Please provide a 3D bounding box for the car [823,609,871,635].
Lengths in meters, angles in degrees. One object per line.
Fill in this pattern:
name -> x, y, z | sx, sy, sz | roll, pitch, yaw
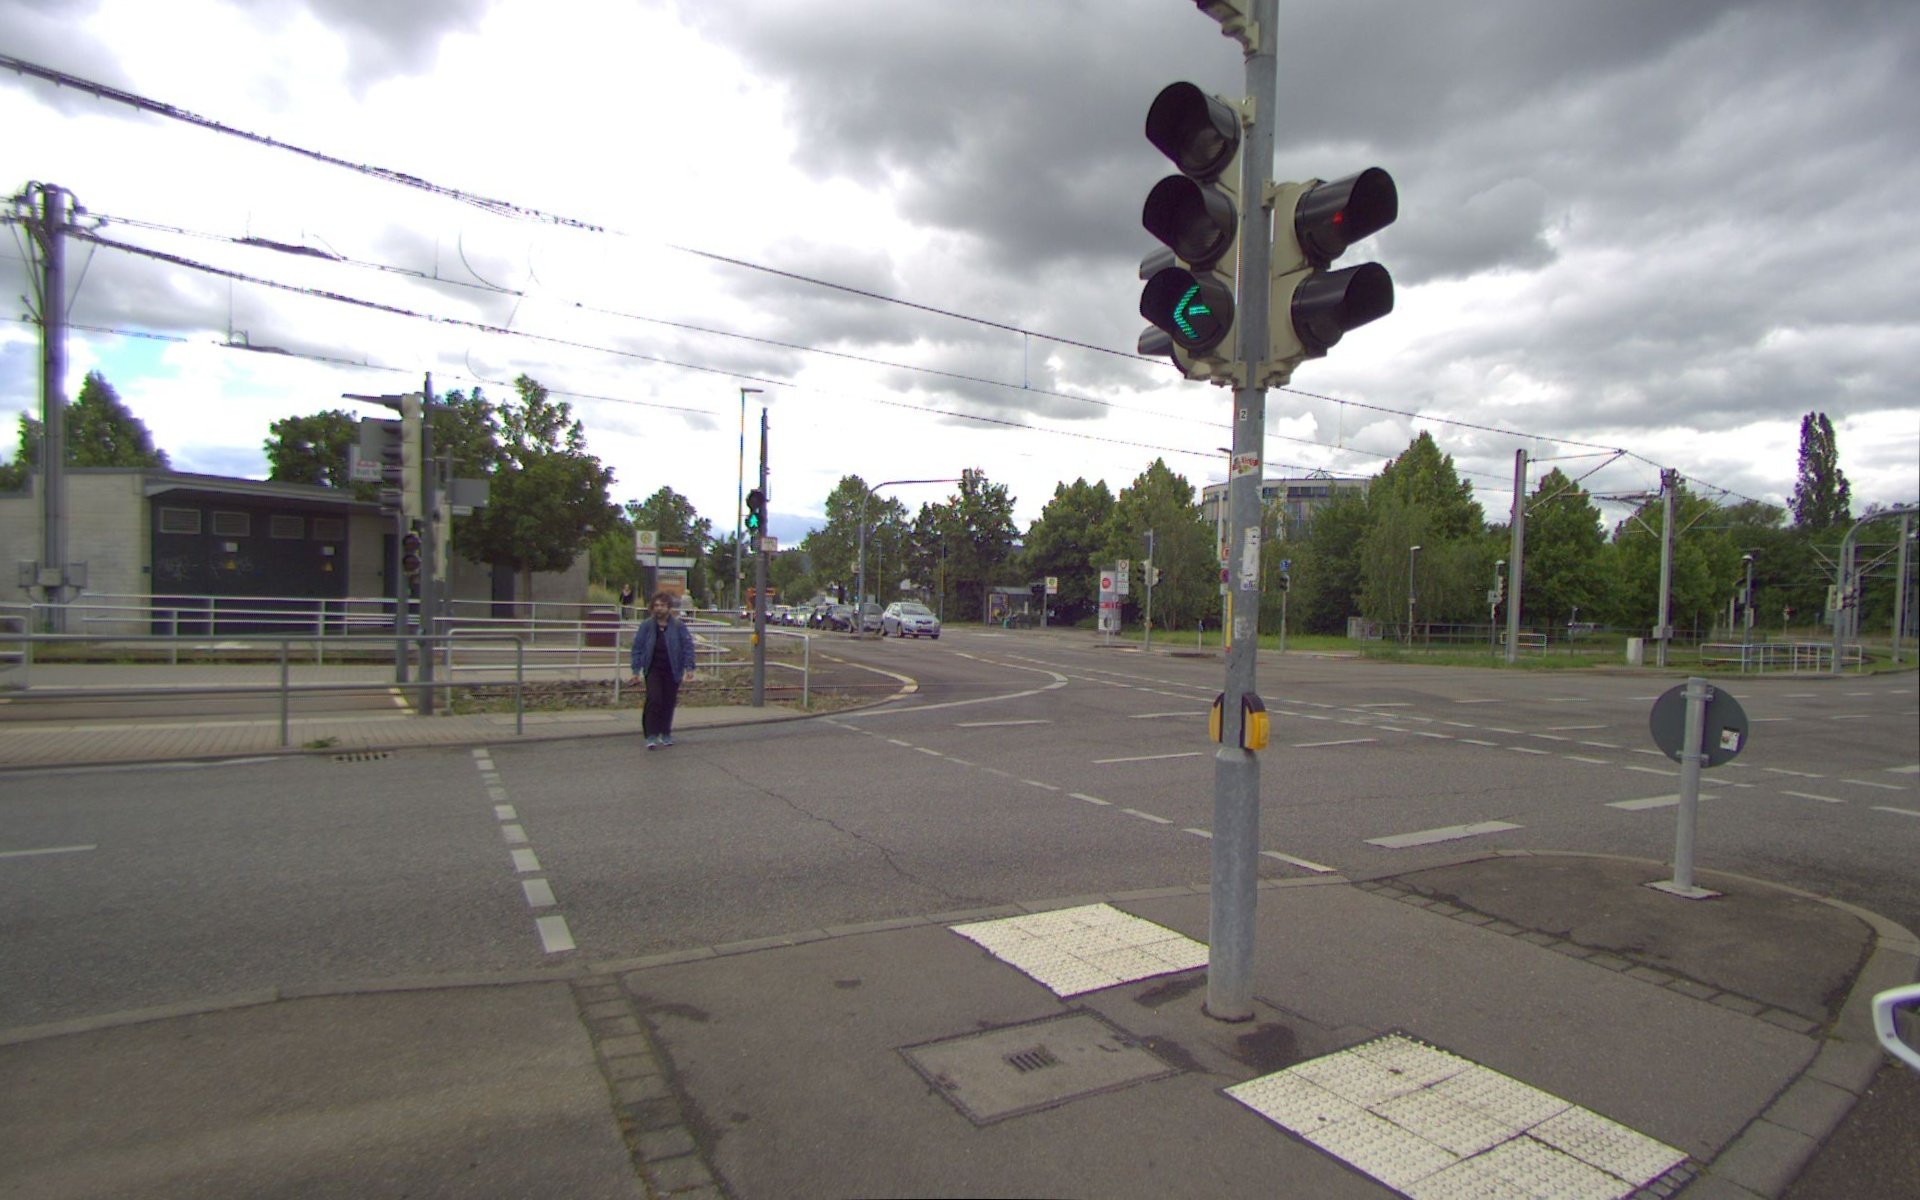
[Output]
car -> -6.220, 1.189, 55.020 | 1.776, 1.350, 4.363 | 1, 0, -18

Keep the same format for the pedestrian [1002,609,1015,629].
pedestrian -> 3.344, 1.292, 69.282 | 0.718, 1.333, 0.587 | 1, 0, -14

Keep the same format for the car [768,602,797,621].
car -> -13.634, 0.856, 76.971 | 1.618, 1.409, 4.868 | 1, 0, -16

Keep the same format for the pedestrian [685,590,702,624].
pedestrian -> -10.752, 0.281, 40.495 | 0.543, 1.382, 0.769 | 1, 0, -24

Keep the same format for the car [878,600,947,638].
car -> -2.127, 0.810, 43.604 | 1.805, 1.556, 4.200 | 1, 0, -20

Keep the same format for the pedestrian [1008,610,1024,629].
pedestrian -> 3.776, 1.344, 68.066 | 0.759, 1.269, 0.774 | 1, 0, 32

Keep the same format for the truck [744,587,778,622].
truck -> -20.968, 0.484, 105.485 | 2.670, 3.533, 9.962 | 1, 0, -15

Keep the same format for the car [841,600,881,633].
car -> -4.914, 0.800, 49.736 | 1.410, 1.547, 2.763 | 1, 0, -18

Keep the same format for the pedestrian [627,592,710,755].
pedestrian -> -2.904, 0.706, 9.990 | 0.661, 1.550, 0.711 | 2, 0, -25

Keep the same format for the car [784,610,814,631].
car -> -11.443, 1.451, 71.125 | 1.618, 1.409, 3.749 | 1, 0, -16

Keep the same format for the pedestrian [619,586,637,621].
pedestrian -> -15.981, 0.174, 48.333 | 0.539, 1.692, 0.639 | 1, 0, 11

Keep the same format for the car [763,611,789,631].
car -> -15.372, 1.709, 83.622 | 1.708, 1.606, 4.208 | 1, 0, -16
